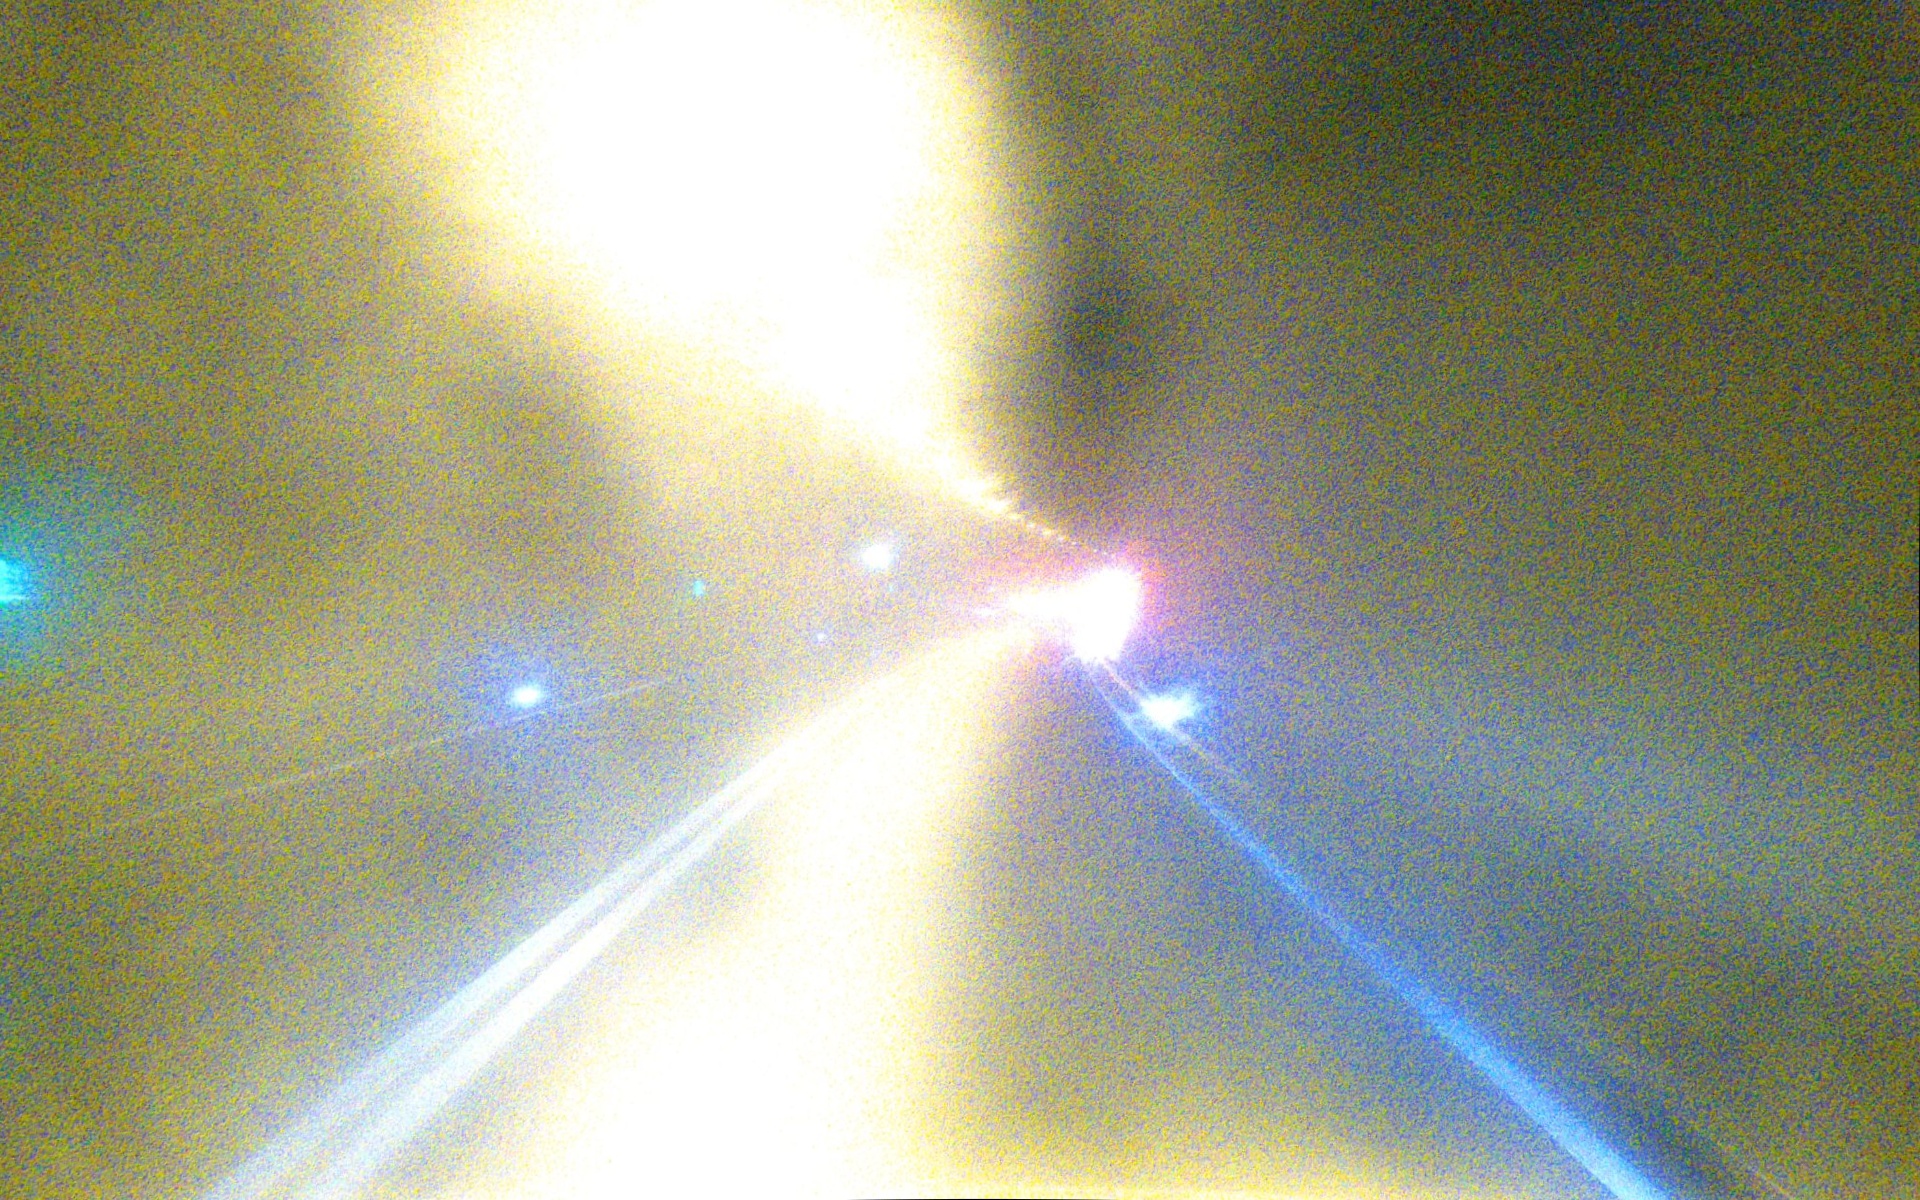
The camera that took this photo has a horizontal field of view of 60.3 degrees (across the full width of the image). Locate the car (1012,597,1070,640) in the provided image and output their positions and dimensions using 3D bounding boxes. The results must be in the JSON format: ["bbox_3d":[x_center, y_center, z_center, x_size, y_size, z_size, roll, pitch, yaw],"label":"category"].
[{"bbox_3d":[3.421,0.764,68.973,2.045,1.691,4.003,1,0,8],"label":"car"}]
